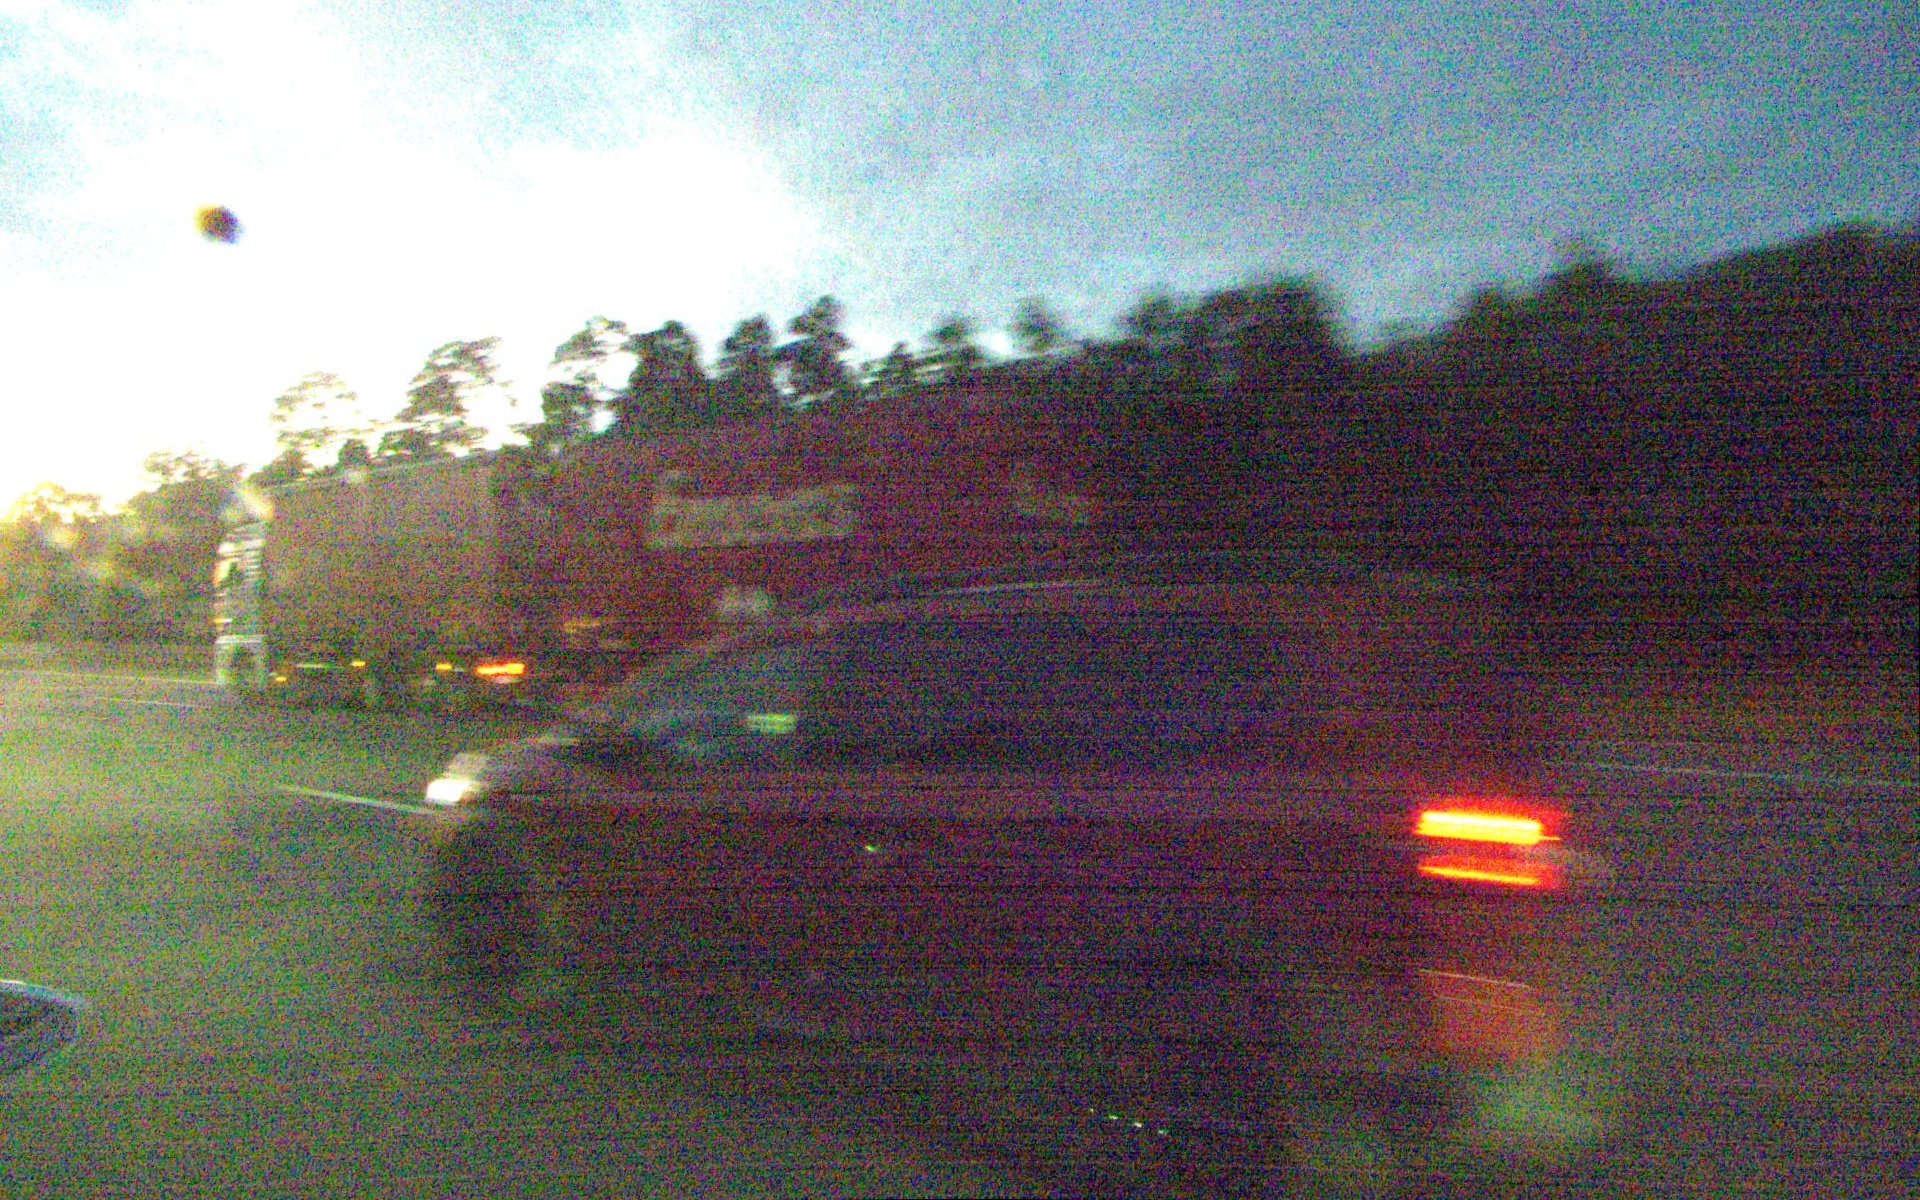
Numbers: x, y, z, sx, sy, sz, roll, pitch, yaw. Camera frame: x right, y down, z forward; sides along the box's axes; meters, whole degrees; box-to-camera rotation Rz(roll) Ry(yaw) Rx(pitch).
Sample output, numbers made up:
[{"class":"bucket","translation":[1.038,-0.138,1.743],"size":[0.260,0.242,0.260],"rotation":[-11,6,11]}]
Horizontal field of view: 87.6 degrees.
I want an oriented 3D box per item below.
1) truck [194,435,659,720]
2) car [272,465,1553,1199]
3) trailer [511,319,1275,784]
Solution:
[{"class":"truck","translation":[-10.375,-0.223,18.742],"size":[10.678,4.154,2.879],"rotation":[-1,-1,33]},{"class":"car","translation":[-0.514,0.720,4.073],"size":[4.980,1.663,1.901],"rotation":[-3,-4,32]},{"class":"trailer","translation":[-1.471,-0.333,12.959],"size":[10.212,4.154,2.901],"rotation":[-1,-1,33]}]
